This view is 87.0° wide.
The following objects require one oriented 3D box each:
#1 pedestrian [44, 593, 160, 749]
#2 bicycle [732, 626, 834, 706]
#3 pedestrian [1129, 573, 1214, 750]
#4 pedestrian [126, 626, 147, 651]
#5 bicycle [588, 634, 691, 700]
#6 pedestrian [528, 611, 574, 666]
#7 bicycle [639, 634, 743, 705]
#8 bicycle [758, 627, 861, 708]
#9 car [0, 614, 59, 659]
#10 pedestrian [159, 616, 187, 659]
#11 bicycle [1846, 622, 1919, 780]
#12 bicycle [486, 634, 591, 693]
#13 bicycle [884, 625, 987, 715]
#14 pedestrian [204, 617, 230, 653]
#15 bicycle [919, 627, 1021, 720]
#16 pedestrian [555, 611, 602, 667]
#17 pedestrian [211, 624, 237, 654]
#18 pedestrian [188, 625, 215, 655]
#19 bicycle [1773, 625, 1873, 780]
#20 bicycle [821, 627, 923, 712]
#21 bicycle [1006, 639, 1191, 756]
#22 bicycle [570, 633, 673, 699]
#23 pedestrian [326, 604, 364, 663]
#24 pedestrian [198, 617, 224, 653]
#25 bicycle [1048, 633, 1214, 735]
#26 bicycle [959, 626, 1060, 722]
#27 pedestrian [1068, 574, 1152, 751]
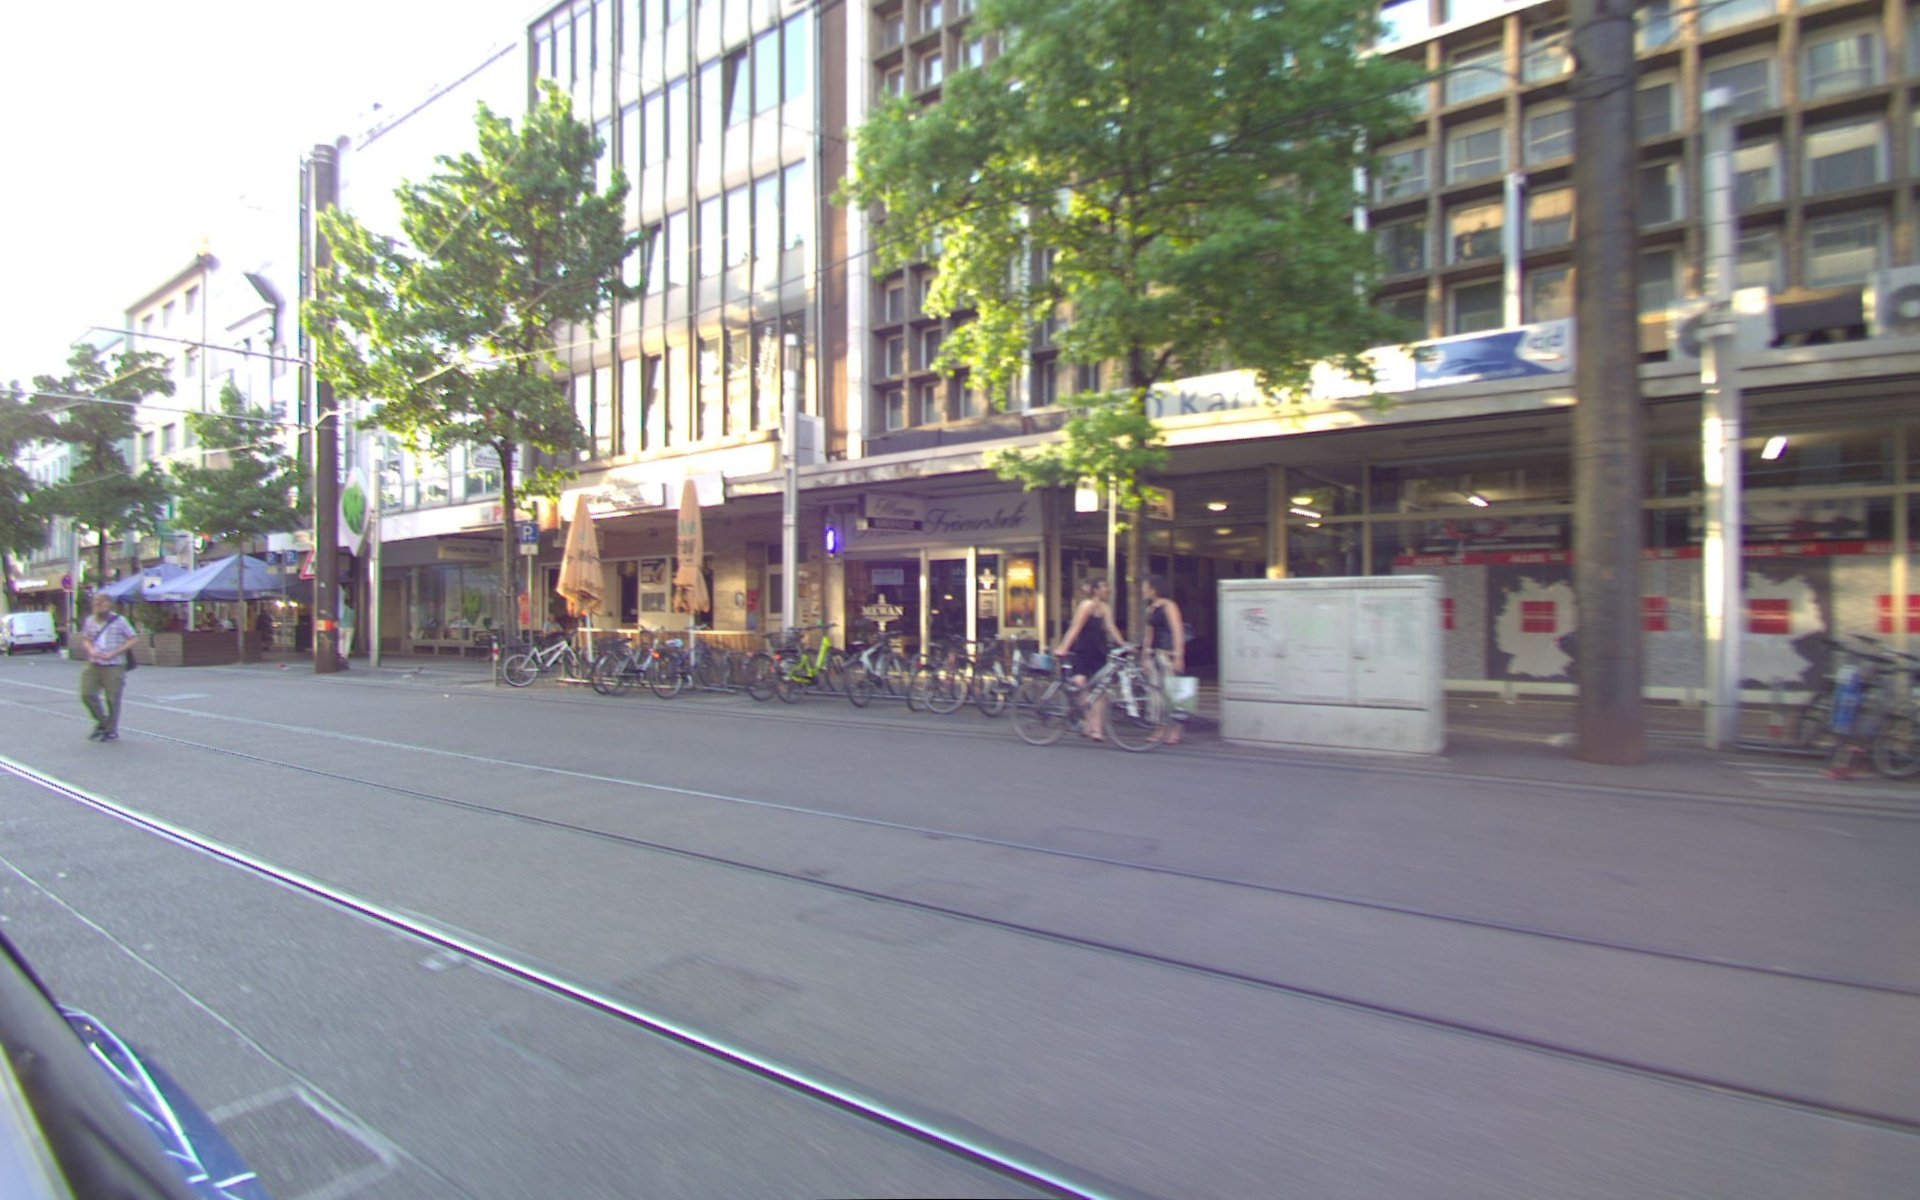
[{"bbox_3d":[-10.505,0.841,12.429,0.808,1.806,0.993,-1,-1,-22],"label":"pedestrian"},{"bbox_3d":[-2.711,0.994,15.675,0.488,1.079,1.758,-2,0,32],"label":"bicycle"},{"bbox_3d":[2.120,0.598,10.176,0.592,1.712,0.537,-1,-1,-23],"label":"pedestrian"},{"bbox_3d":[-40.484,1.886,49.739,0.648,1.184,0.643,-1,0,33],"label":"pedestrian"},{"bbox_3d":[-5.451,1.120,17.328,0.488,0.997,1.758,-3,0,32],"label":"bicycle"},{"bbox_3d":[-10.313,0.960,25.534,0.910,1.335,0.664,-1,1,37],"label":"pedestrian"},{"bbox_3d":[-4.346,1.103,16.453,0.488,0.997,1.758,-3,0,32],"label":"bicycle"},{"bbox_3d":[-2.245,0.987,15.335,0.488,1.079,1.758,-2,0,32],"label":"bicycle"},{"bbox_3d":[-42.556,1.635,45.896,4.325,1.835,1.808,-2,1,40],"label":"car"},{"bbox_3d":[-29.557,1.396,38.005,0.564,1.564,0.650,-1,2,36],"label":"pedestrian"},{"bbox_3d":[7.321,0.730,7.875,0.489,1.053,1.755,-2,0,37],"label":"bicycle"},{"bbox_3d":[-7.978,1.176,19.190,1.748,0.973,0.491,-2,1,-36],"label":"bicycle"},{"bbox_3d":[-0.302,0.924,13.833,0.488,1.079,1.758,-2,0,32],"label":"bicycle"},{"bbox_3d":[-31.211,1.465,42.523,0.642,1.444,0.655,0,4,38],"label":"pedestrian"},{"bbox_3d":[0.161,0.949,13.540,0.488,1.079,1.758,-2,0,32],"label":"bicycle"},{"bbox_3d":[-9.352,0.945,24.824,0.910,1.335,0.664,-1,1,37],"label":"pedestrian"},{"bbox_3d":[-29.987,1.595,41.236,0.664,1.165,0.635,-1,2,36],"label":"pedestrian"},{"bbox_3d":[-30.361,1.598,40.510,0.664,1.165,0.635,-1,2,36],"label":"pedestrian"},{"bbox_3d":[6.938,0.766,8.181,0.489,1.053,1.755,-2,0,37],"label":"bicycle"},{"bbox_3d":[-1.240,0.971,14.610,0.488,1.079,1.758,-2,0,32],"label":"bicycle"},{"bbox_3d":[1.337,0.930,10.015,1.773,1.053,0.484,-2,-1,35],"label":"bicycle"},{"bbox_3d":[-5.872,1.127,17.646,0.488,0.997,1.758,-3,0,32],"label":"bicycle"},{"bbox_3d":[-19.276,1.038,31.724,0.989,1.806,0.677,-1,1,38],"label":"pedestrian"},{"bbox_3d":[-31.782,1.474,42.958,0.642,1.444,0.655,0,4,38],"label":"pedestrian"},{"bbox_3d":[1.880,0.912,11.305,1.773,1.053,0.484,-2,-1,35],"label":"bicycle"},{"bbox_3d":[0.668,0.928,13.131,0.488,1.079,1.758,-2,0,32],"label":"bicycle"},{"bbox_3d":[1.502,0.605,10.188,0.592,1.712,0.537,-1,-1,-23],"label":"pedestrian"}]
